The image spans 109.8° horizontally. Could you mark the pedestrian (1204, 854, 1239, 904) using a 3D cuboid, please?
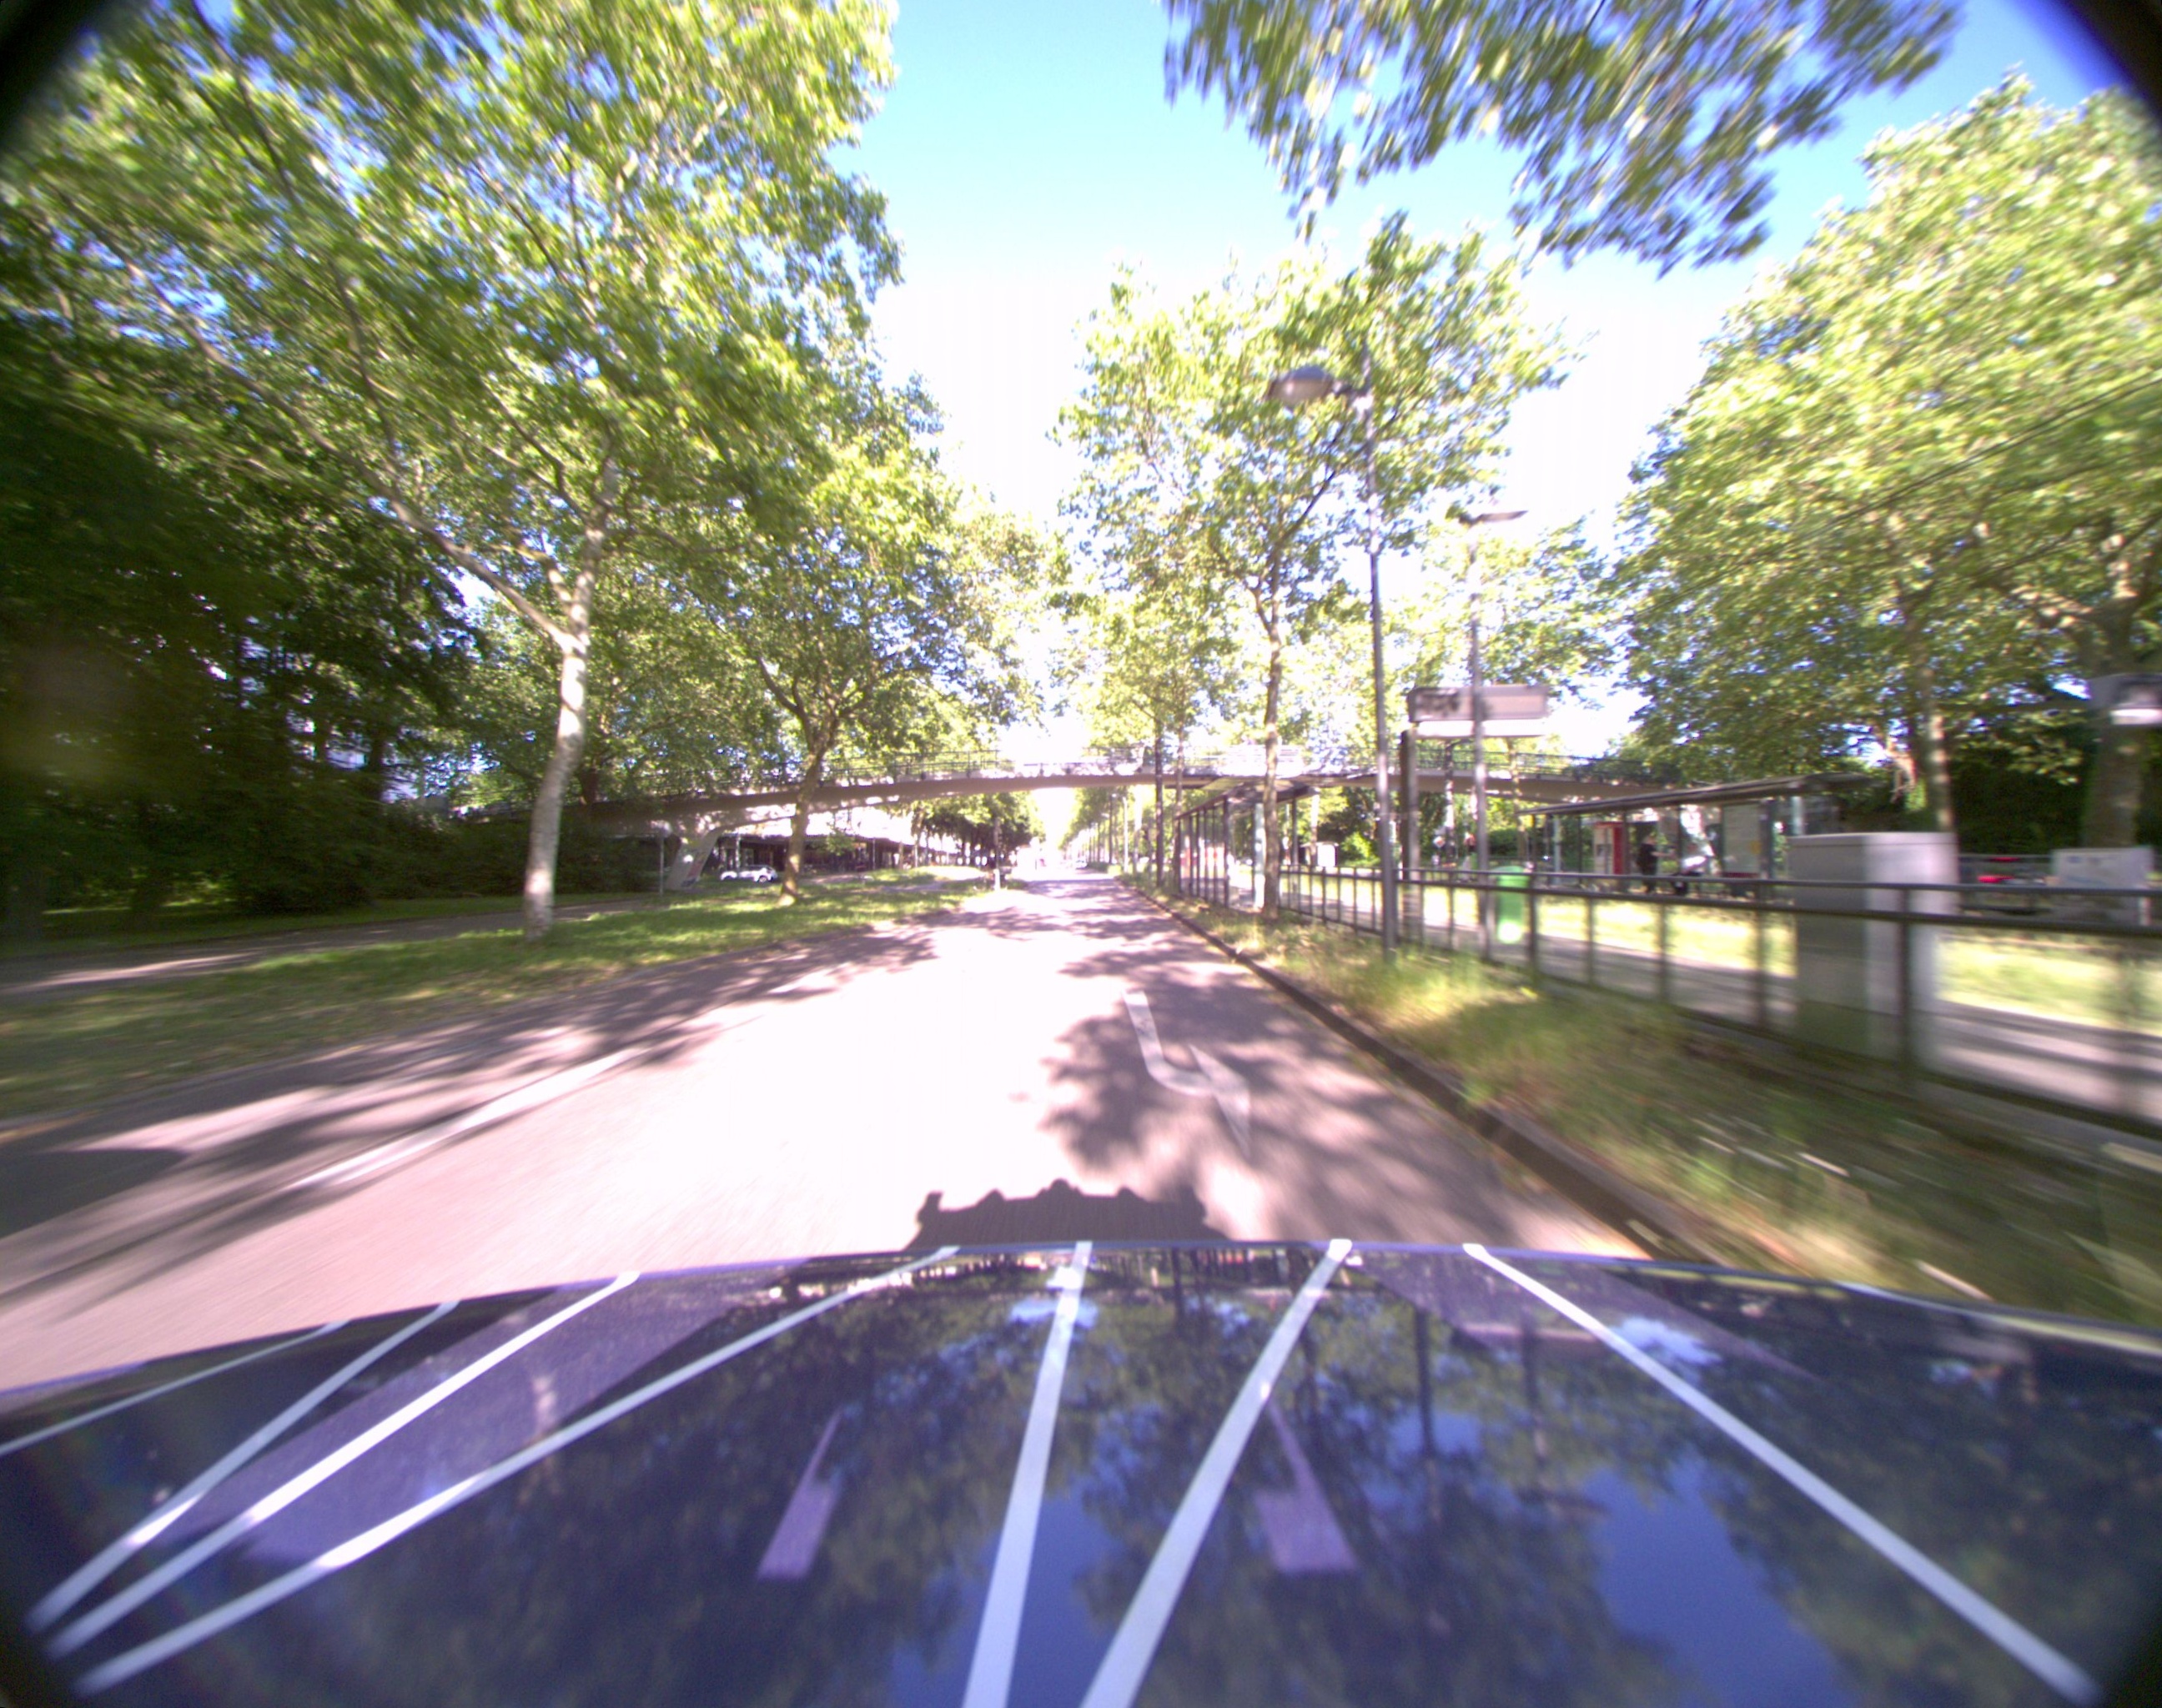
[{"bbox_3d":[3.656,0.635,19.813,0.736,1.245,0.587,-2,1,-5],"label":"pedestrian"}]

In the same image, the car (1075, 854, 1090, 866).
[{"bbox_3d":[0.225,0.842,106.849,1.897,1.623,4.502,-2,0,2],"label":"car"}]

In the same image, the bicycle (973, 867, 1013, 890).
[{"bbox_3d":[-4.473,1.222,38.521,1.834,1.140,0.816,0,0,11],"label":"bicycle"}]

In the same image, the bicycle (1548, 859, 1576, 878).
[{"bbox_3d":[25.818,0.751,40.802,0.435,1.003,1.686,-2,0,0],"label":"bicycle"}]

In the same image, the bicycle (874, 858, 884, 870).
[{"bbox_3d":[-21.692,1.078,81.471,0.577,1.246,1.806,-2,1,-1],"label":"bicycle"}]

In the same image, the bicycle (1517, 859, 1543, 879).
[{"bbox_3d":[24.380,0.801,41.287,0.435,1.003,1.686,-2,0,0],"label":"bicycle"}]

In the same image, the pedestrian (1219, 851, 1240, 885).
[{"bbox_3d":[7.310,0.682,37.526,0.727,1.664,1.048,-2,1,-3],"label":"pedestrian"}]

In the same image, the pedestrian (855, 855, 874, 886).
[{"bbox_3d":[-12.126,0.927,42.535,0.658,1.766,0.741,-2,-1,38],"label":"pedestrian"}]

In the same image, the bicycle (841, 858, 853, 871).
[{"bbox_3d":[-22.698,1.023,73.697,0.577,1.246,1.806,-2,1,-1],"label":"bicycle"}]

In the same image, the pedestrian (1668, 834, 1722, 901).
[{"bbox_3d":[15.142,0.330,18.759,0.731,1.625,0.715,0,1,-2],"label":"pedestrian"}]

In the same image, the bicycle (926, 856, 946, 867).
[{"bbox_3d":[-15.906,0.828,83.305,2.073,1.151,0.561,0,0,-11],"label":"bicycle"}]

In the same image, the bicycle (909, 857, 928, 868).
[{"bbox_3d":[-18.067,0.963,84.555,2.069,1.151,0.562,0,0,14],"label":"bicycle"}]

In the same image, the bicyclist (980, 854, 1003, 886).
[{"bbox_3d":[-4.539,0.813,38.520,0.955,1.622,0.816,0,0,14],"label":"bicyclist"}]

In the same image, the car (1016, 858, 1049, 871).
[{"bbox_3d":[-5.667,1.202,89.526,3.838,1.464,1.514,1,0,-44],"label":"car"}]

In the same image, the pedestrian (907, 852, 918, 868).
[{"bbox_3d":[-18.666,0.670,84.230,1.131,1.698,0.732,0,1,-9],"label":"pedestrian"}]

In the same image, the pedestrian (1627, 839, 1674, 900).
[{"bbox_3d":[14.371,0.390,19.186,0.644,1.505,0.683,0,1,-12],"label":"pedestrian"}]

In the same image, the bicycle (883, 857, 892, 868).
[{"bbox_3d":[-21.994,0.947,86.377,0.577,1.246,1.806,-2,1,-1],"label":"bicycle"}]

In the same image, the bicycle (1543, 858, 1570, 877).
[{"bbox_3d":[26.233,0.729,41.935,0.435,1.003,1.686,-2,0,0],"label":"bicycle"}]

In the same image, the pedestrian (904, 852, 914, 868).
[{"bbox_3d":[-19.713,0.669,87.017,0.967,1.829,0.952,0,1,-9],"label":"pedestrian"}]

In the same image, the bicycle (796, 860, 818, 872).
[{"bbox_3d":[-25.934,1.108,71.911,1.806,1.109,0.710,0,2,-7],"label":"bicycle"}]

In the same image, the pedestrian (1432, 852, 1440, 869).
[{"bbox_3d":[30.864,0.563,66.037,0.534,1.483,0.588,-2,1,25],"label":"pedestrian"}]

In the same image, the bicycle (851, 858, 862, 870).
[{"bbox_3d":[-22.943,1.009,77.689,0.577,1.246,1.806,-2,1,-1],"label":"bicycle"}]

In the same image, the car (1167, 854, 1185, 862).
[{"bbox_3d":[19.919,0.801,159.023,1.884,1.558,4.007,-2,1,35],"label":"car"}]

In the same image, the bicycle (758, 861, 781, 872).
[{"bbox_3d":[-29.353,1.157,71.572,1.806,0.949,0.710,1,0,-7],"label":"bicycle"}]

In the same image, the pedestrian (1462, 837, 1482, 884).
[{"bbox_3d":[14.713,0.237,28.605,0.504,1.760,0.483,-3,1,-40],"label":"pedestrian"}]

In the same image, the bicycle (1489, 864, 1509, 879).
[{"bbox_3d":[22.949,0.971,41.685,0.435,0.774,1.174,-2,0,0],"label":"bicycle"}]

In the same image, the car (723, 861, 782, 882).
[{"bbox_3d":[-24.806,1.339,57.432,3.739,1.486,1.710,-2,-2,-3],"label":"car"}]

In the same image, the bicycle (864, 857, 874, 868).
[{"bbox_3d":[-23.527,0.939,84.270,0.577,1.246,1.806,-2,1,-1],"label":"bicycle"}]

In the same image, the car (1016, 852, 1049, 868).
[{"bbox_3d":[-5.929,0.733,93.256,1.763,1.832,3.960,1,0,45],"label":"car"}]

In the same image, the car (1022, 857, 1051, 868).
[{"bbox_3d":[-6.939,1.350,118.052,4.312,1.665,1.862,-1,-1,-44],"label":"car"}]

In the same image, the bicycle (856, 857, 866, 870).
[{"bbox_3d":[-23.069,1.000,79.764,0.577,1.246,1.806,-2,1,-1],"label":"bicycle"}]

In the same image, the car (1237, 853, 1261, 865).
[{"bbox_3d":[22.055,0.622,99.975,1.902,1.480,4.626,-4,0,-1],"label":"car"}]

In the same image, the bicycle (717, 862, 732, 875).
[{"bbox_3d":[-30.902,1.239,65.934,0.506,0.955,2.193,0,3,-6],"label":"bicycle"}]

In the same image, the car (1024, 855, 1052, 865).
[{"bbox_3d":[-6.271,0.892,110.829,1.681,1.395,4.096,1,-1,42],"label":"car"}]
